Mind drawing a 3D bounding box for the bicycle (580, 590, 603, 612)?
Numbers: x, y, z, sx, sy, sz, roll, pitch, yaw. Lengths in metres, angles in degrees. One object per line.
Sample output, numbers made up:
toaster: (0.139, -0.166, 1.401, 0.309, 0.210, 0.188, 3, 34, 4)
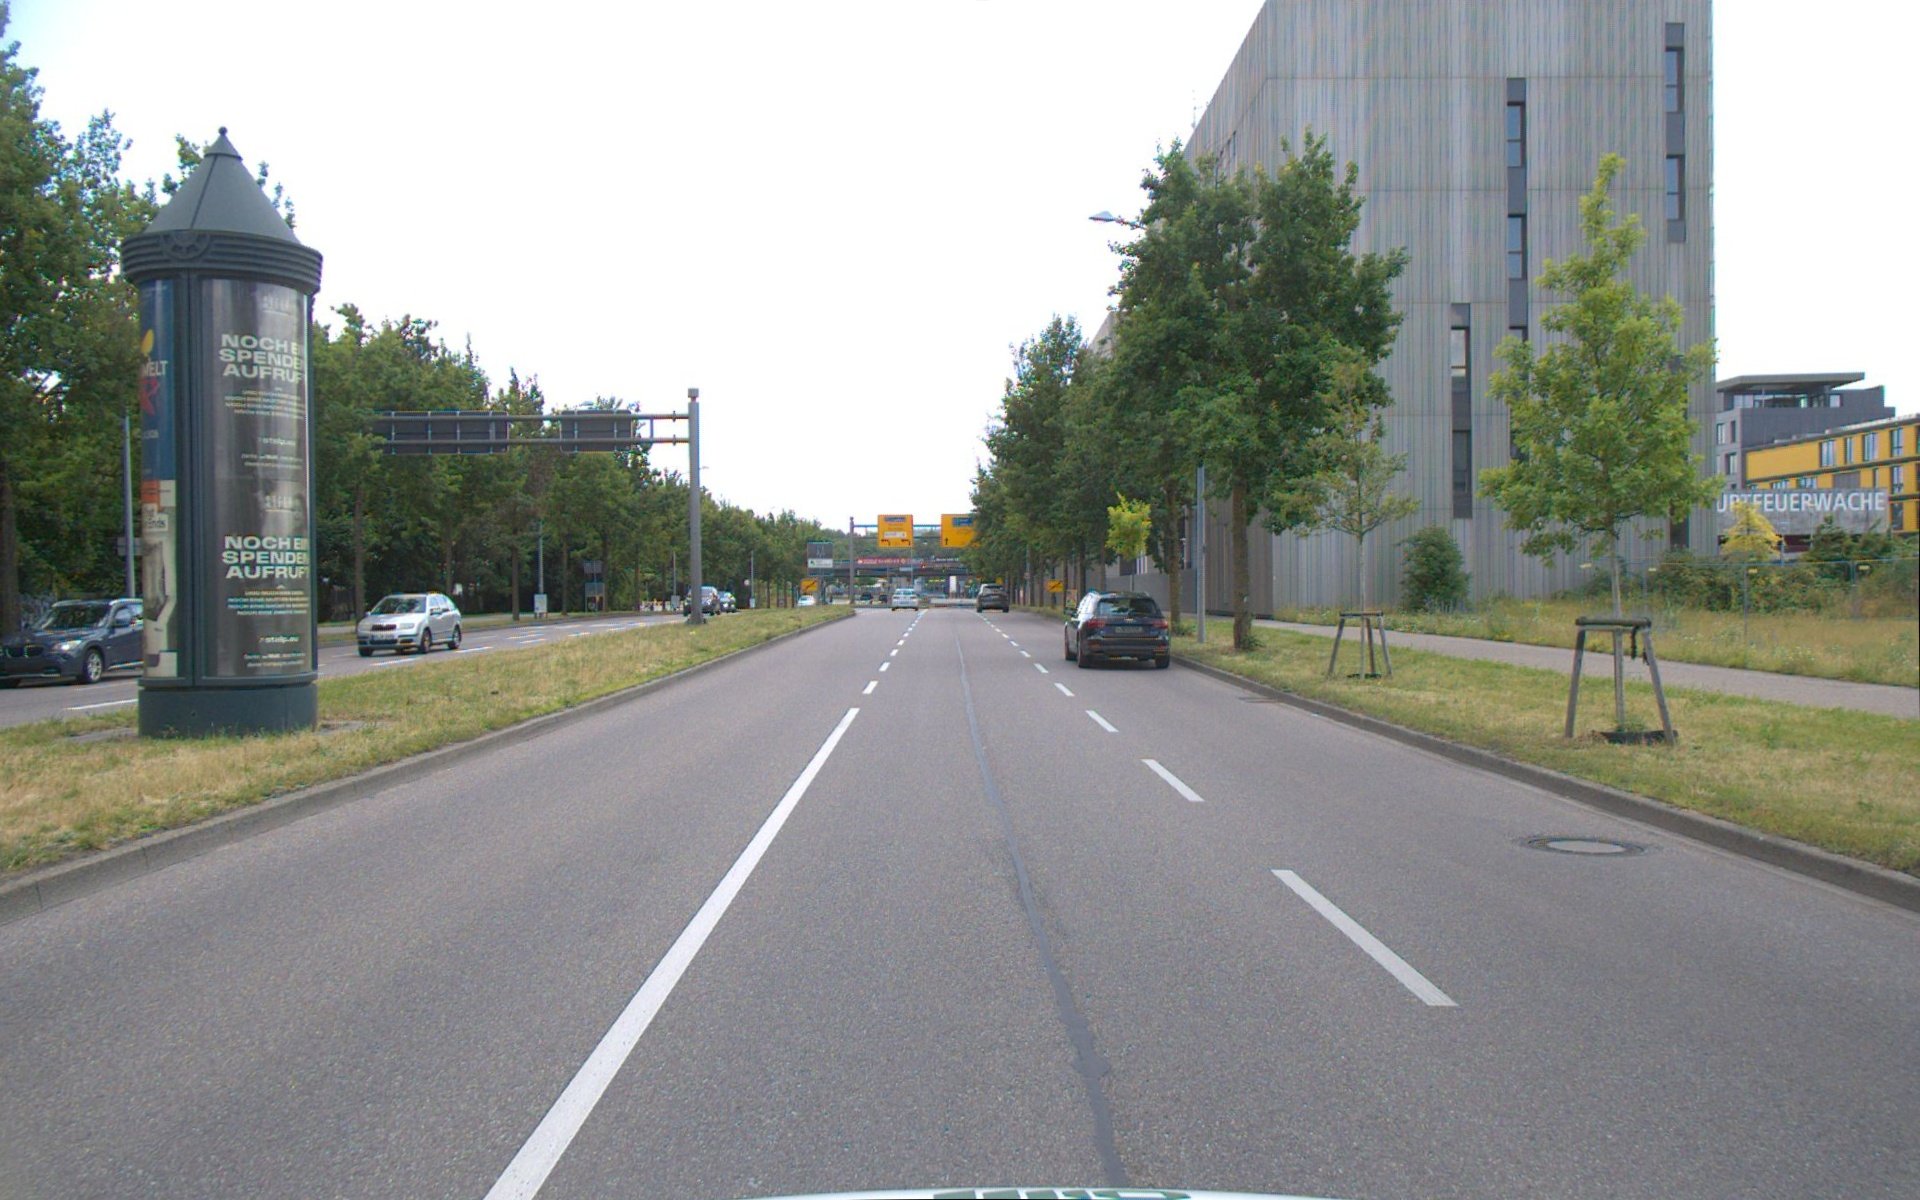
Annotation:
bicycle: (-22.235, 0.054, 99.795, 0.791, 1.248, 2.502, -1, 0, 0)

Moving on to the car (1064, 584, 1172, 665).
car: (3.066, 0.447, 32.763, 1.650, 1.489, 3.999, 0, 0, -2)

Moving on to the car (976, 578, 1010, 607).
car: (1.975, -0.473, 97.051, 1.952, 1.654, 4.311, -1, 1, 2)

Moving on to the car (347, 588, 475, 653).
car: (-13.531, 0.455, 40.987, 1.727, 1.465, 4.309, -2, 1, -1)

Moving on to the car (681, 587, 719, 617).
car: (-14.524, 0.088, 92.555, 1.707, 1.596, 4.271, -2, 1, -5)

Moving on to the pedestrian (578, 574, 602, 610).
pedestrian: (-22.295, -0.456, 99.630, 0.950, 2.047, 1.249, -7, 0, 1)

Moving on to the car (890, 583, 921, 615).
car: (-3.624, -0.041, 108.755, 1.954, 2.049, 3.997, 0, 0, -3)

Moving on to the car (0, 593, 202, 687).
car: (-16.626, 0.697, 31.933, 1.727, 1.604, 5.030, -2, 1, -1)
